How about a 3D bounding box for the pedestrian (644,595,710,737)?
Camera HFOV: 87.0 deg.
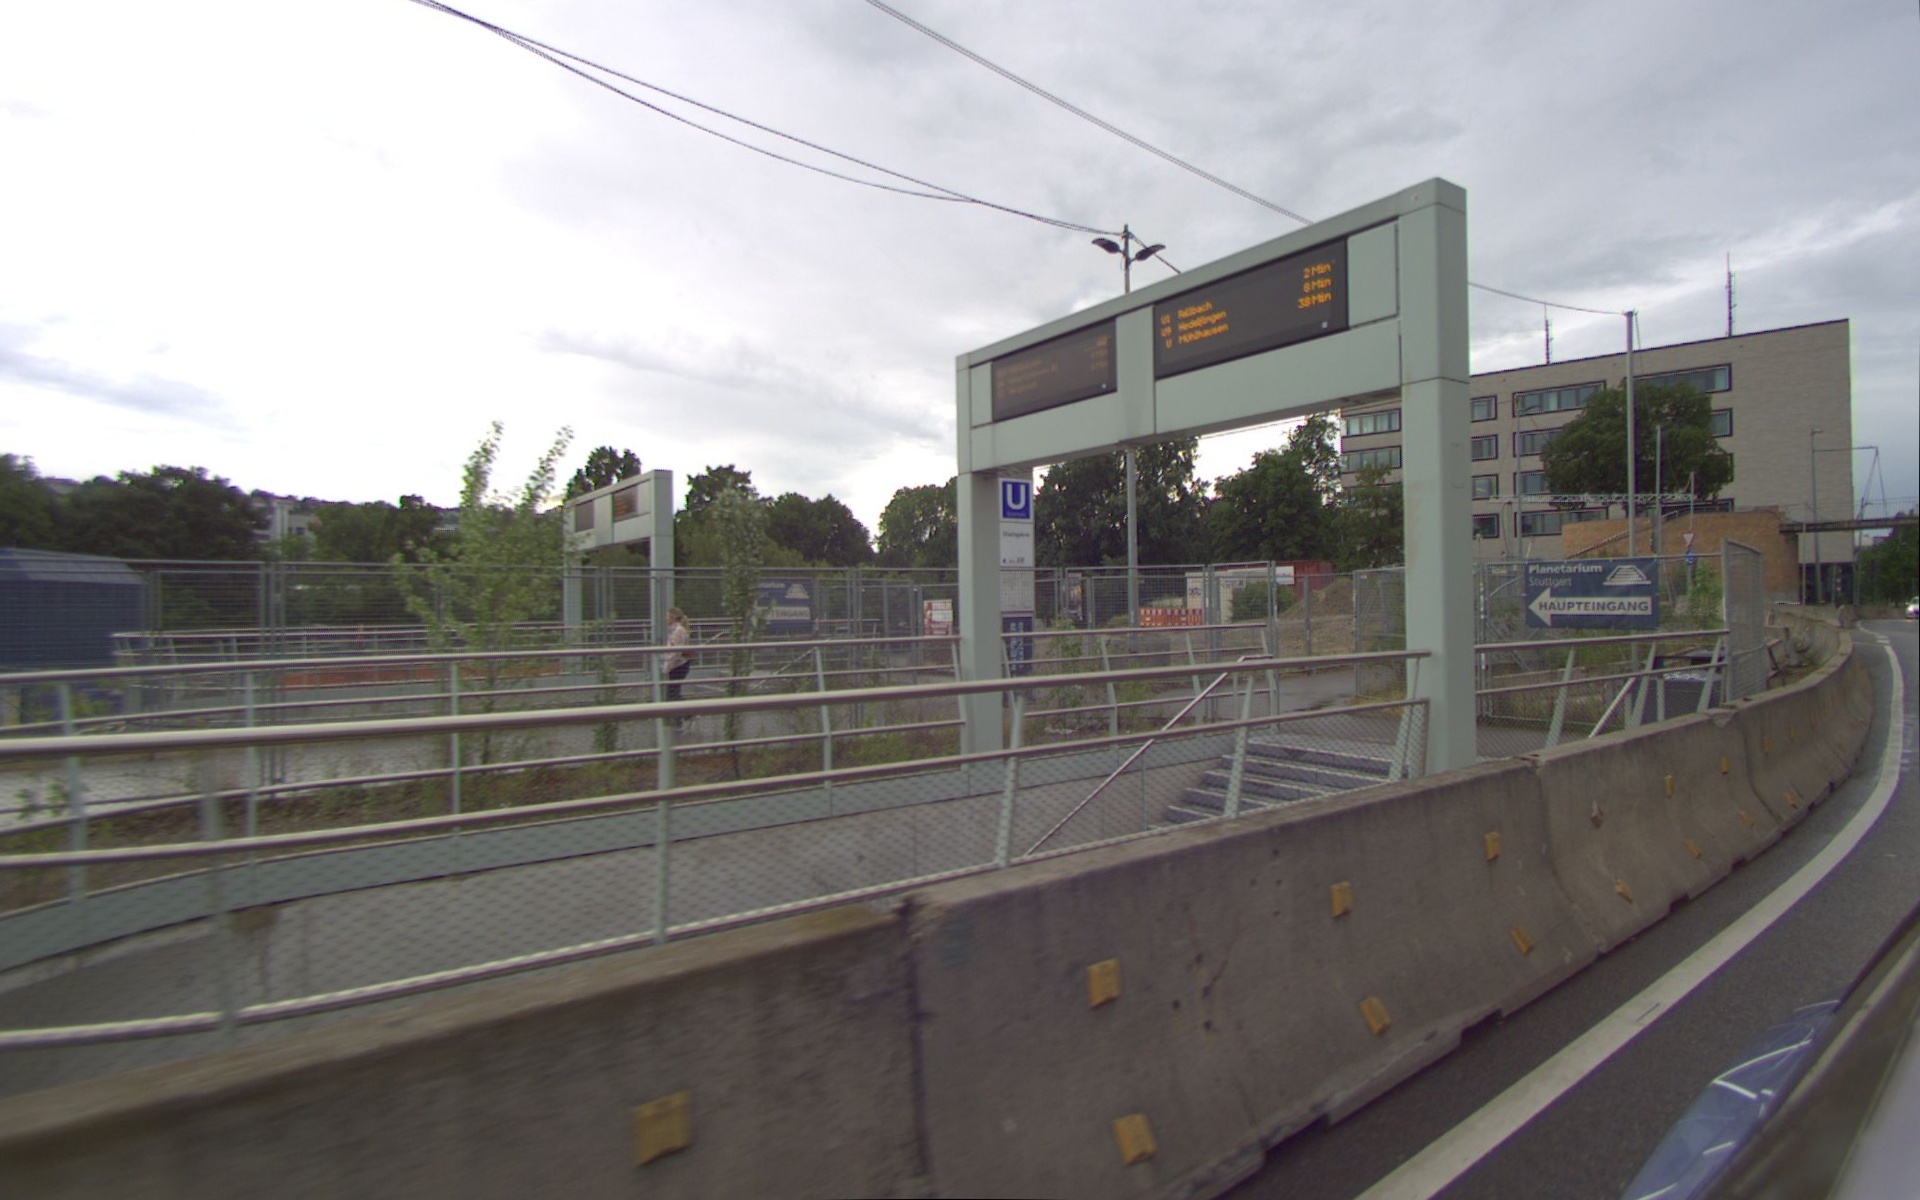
[{"bbox_3d":[-3.773,0.848,13.470,0.798,1.800,0.693,0,1,-18],"label":"pedestrian"}]
